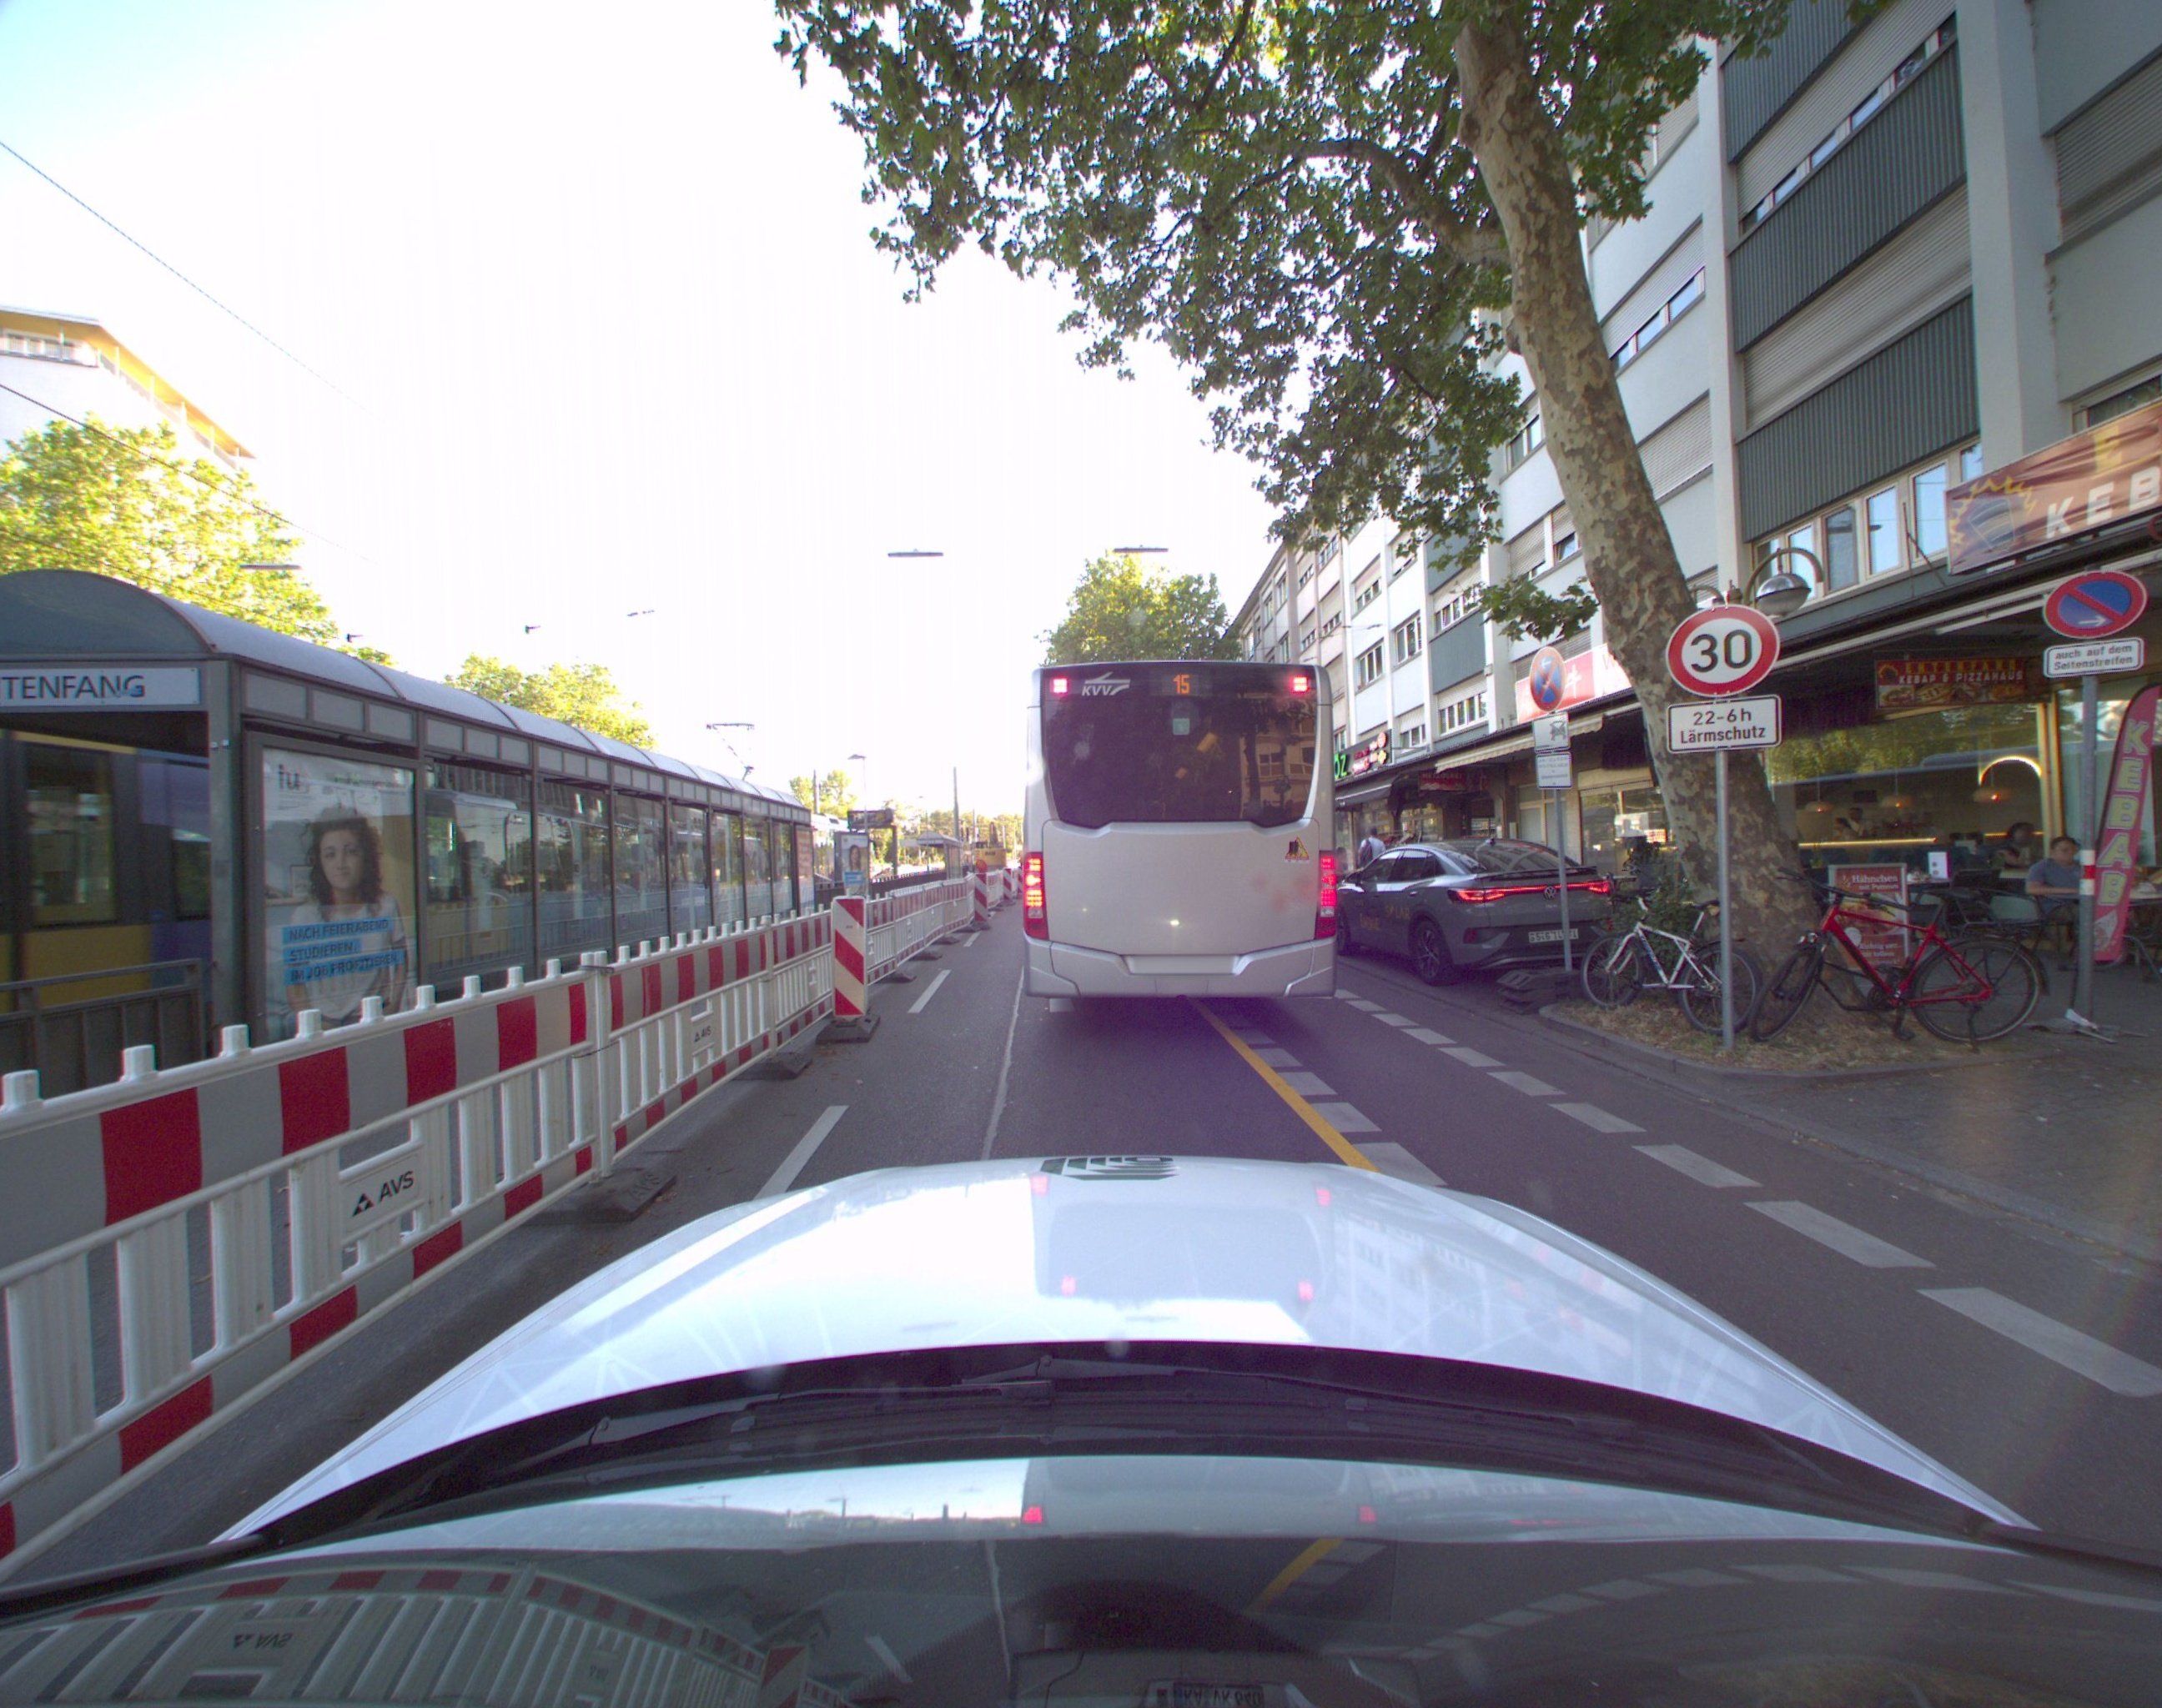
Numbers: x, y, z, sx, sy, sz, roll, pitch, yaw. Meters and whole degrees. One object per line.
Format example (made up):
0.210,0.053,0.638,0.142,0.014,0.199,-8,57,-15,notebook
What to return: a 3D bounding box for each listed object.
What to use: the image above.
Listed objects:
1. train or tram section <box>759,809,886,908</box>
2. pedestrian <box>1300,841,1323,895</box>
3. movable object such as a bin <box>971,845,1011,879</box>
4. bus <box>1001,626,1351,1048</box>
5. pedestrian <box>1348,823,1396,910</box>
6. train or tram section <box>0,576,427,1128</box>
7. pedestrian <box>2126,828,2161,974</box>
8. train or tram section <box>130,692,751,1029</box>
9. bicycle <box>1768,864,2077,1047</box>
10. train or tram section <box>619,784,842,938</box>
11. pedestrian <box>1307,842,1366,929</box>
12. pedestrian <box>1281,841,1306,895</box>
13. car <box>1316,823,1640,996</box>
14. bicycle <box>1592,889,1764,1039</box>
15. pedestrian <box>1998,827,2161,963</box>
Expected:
-10.460,0.199,34.259,2.812,3.487,10.320,-2,0,-5,train or tram section
8.685,0.517,30.709,0.610,2.014,0.696,-2,-1,1,pedestrian
-7.046,0.609,64.007,2.800,2.462,3.995,-2,0,-3,movable object such as a bin
0.920,-0.121,11.362,2.598,3.170,10.296,-1,0,2,bus
7.005,0.301,19.623,0.767,2.013,0.713,-3,-1,-1,pedestrian
-8.138,-0.001,3.463,2.830,3.487,10.324,-2,0,-4,train or tram section
9.564,0.389,6.812,0.612,1.243,0.714,-5,-1,11,pedestrian
-8.817,0.082,13.757,2.865,3.487,10.322,-2,0,-4,train or tram section
5.497,0.675,5.371,1.450,1.066,0.297,-6,2,13,bicycle
-9.605,0.192,23.993,2.831,3.487,10.319,-2,0,-5,train or tram section
4.849,0.583,15.454,0.742,1.581,0.882,-3,-1,40,pedestrian
8.003,0.528,30.660,0.688,2.014,0.696,-2,-1,1,pedestrian
4.592,0.564,10.274,1.736,1.597,4.294,-4,0,-3,car
4.484,0.788,6.189,0.294,0.927,1.127,-6,2,-8,bicycle
9.626,0.386,7.848,0.673,1.203,0.706,-5,-1,11,pedestrian
